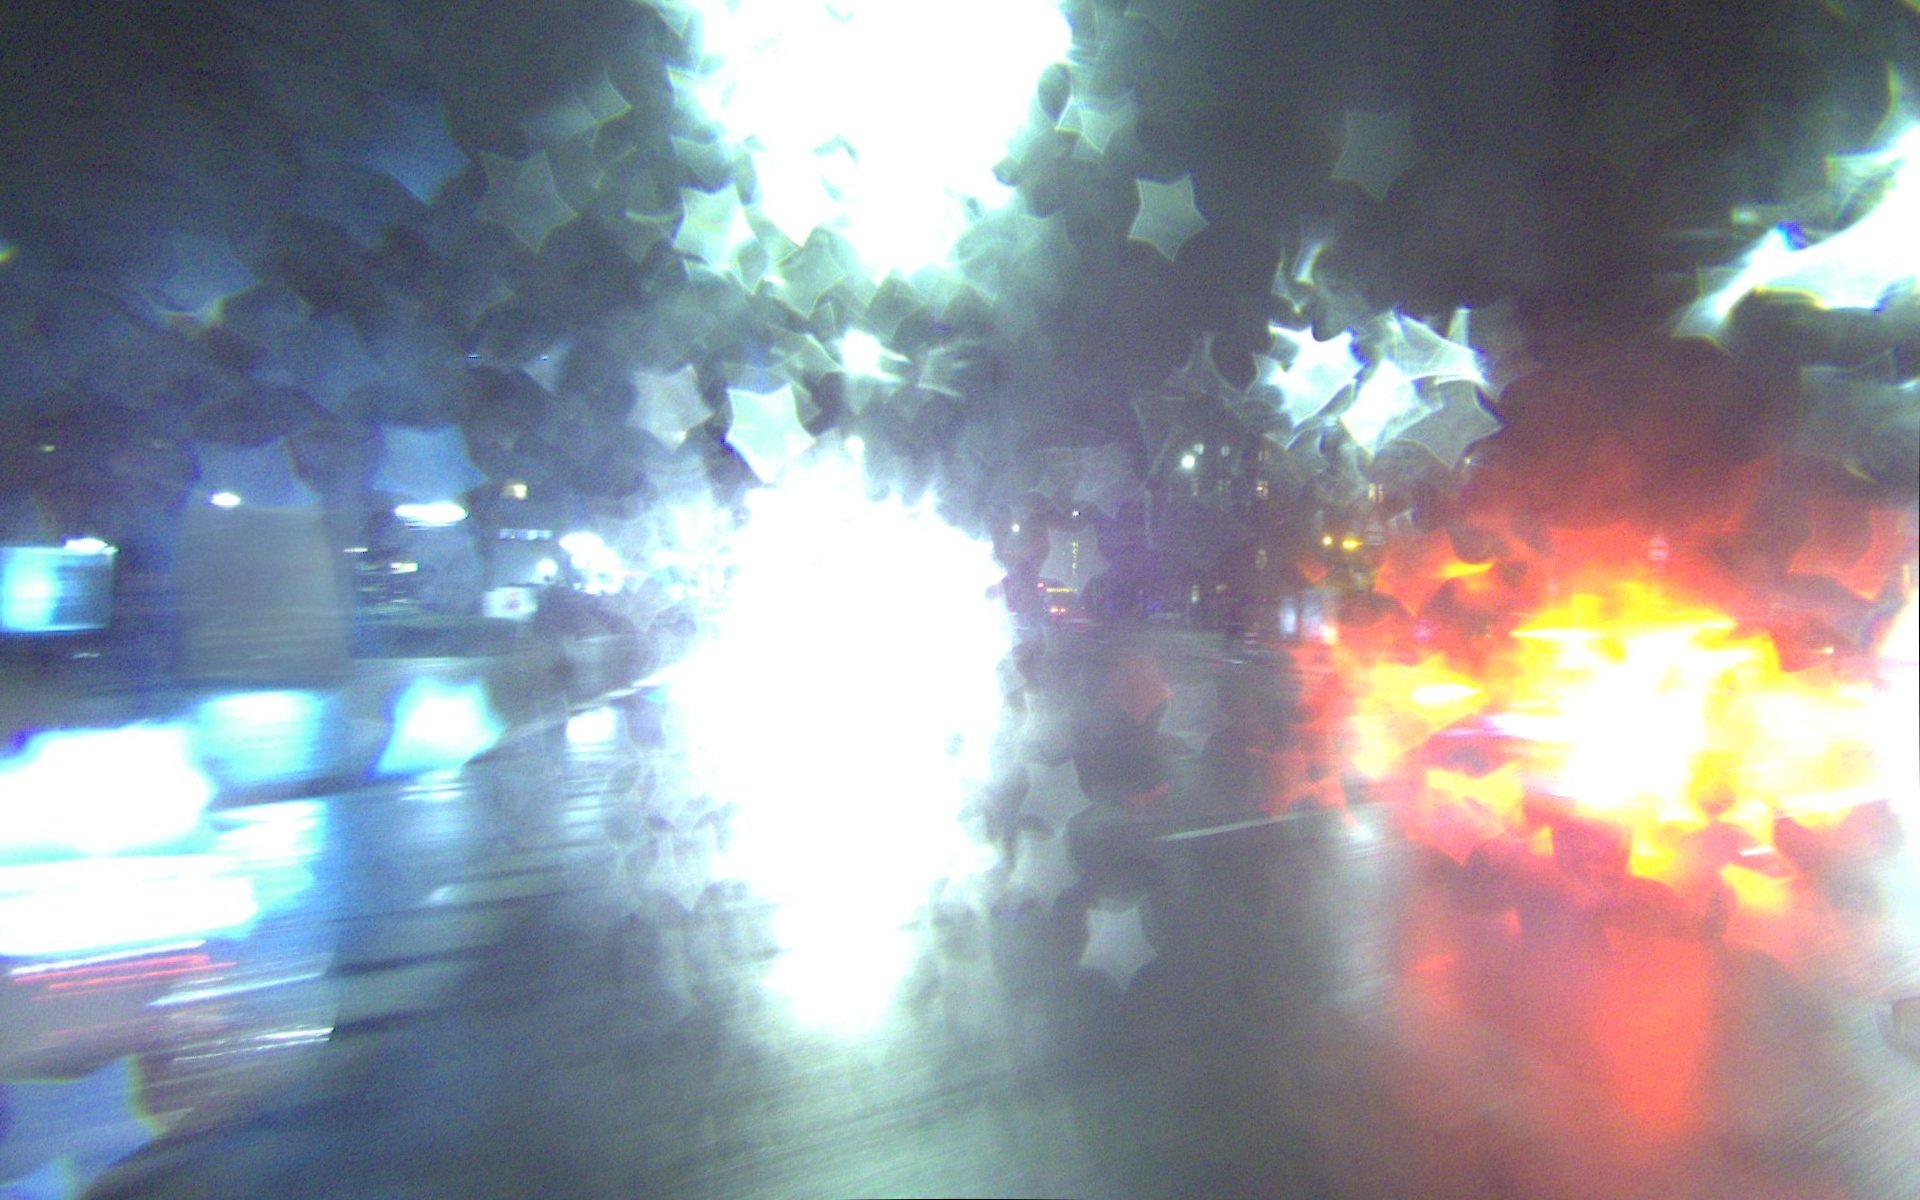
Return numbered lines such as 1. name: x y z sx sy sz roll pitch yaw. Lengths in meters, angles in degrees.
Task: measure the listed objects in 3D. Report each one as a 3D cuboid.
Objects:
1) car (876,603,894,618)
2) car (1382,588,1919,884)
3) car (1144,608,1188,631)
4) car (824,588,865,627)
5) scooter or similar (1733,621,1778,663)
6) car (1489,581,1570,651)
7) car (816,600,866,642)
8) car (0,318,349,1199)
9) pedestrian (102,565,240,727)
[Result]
1. car: -8.887 1.232 119.070 1.863 1.766 4.733 1 0 -8
2. car: 5.318 0.750 7.363 4.676 1.563 1.807 1 0 -33
3. car: 16.910 1.620 82.719 2.051 1.804 4.324 1 0 -11
4. car: -5.599 0.365 48.278 1.863 1.766 4.733 0 0 -8
5. scooter or similar: 25.040 1.320 31.633 1.060 1.256 0.285 1 1 31
6. car: 16.108 0.428 28.555 1.863 1.804 4.326 0 0 28
7. car: -4.828 0.797 40.266 1.863 1.590 4.327 1 0 -8
8. car: -4.144 0.471 1.743 5.135 1.980 2.025 0 0 -29
9. pedestrian: -8.891 0.499 11.345 0.950 1.759 0.771 1 0 6
